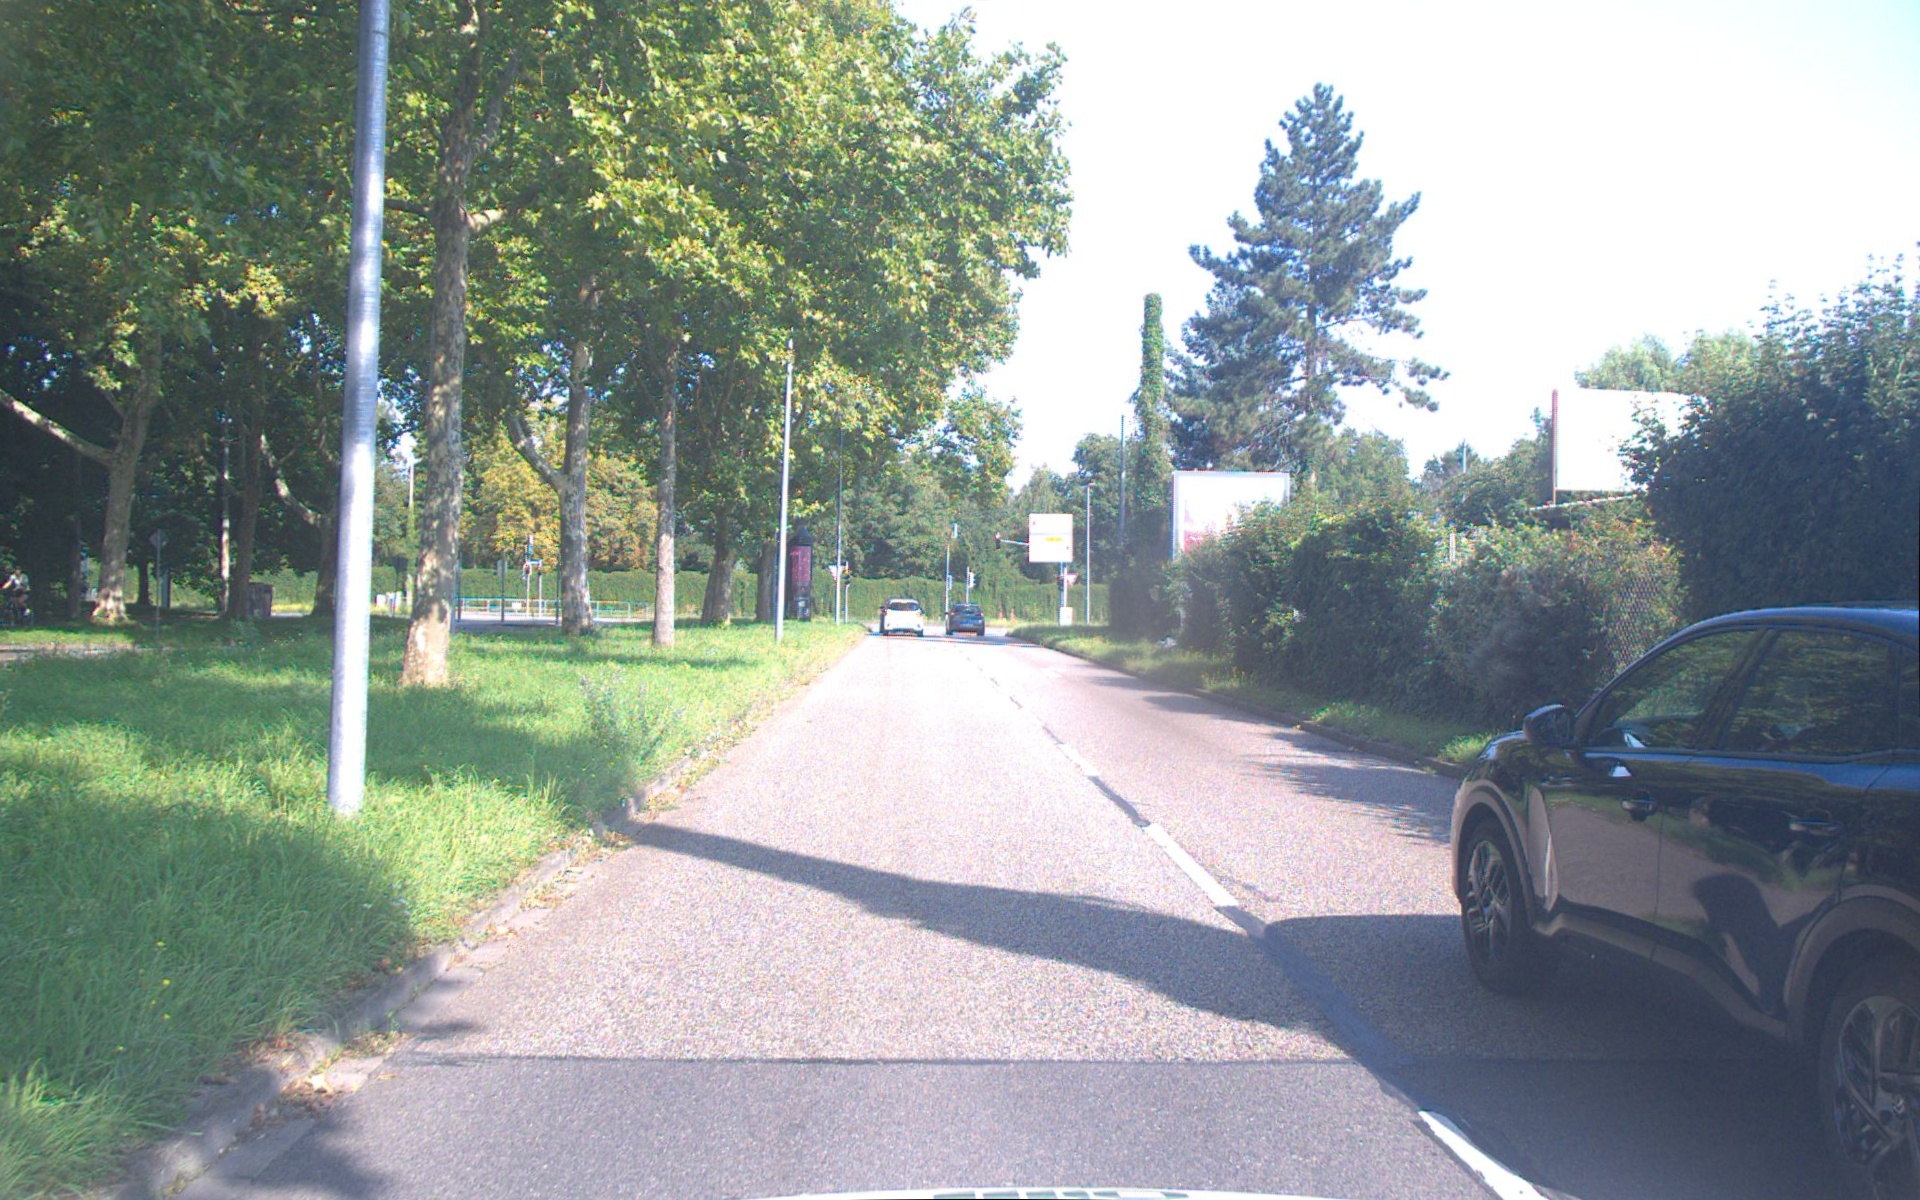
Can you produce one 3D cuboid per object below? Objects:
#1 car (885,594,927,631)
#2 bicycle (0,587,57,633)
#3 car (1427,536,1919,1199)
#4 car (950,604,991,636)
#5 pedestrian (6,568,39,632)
[{"bbox_3d":[-2.255,0.506,69.588,1.653,1.487,3.999,1,0,-1],"label":"car"},{"bbox_3d":[-25.735,0.269,45.438,0.533,1.220,2.758,1,0,-5],"label":"bicycle"},{"bbox_3d":[2.966,0.666,5.236,1.612,1.616,4.252,0,0,-3],"label":"car"},{"bbox_3d":[0.475,0.926,78.544,1.761,1.425,3.998,1,0,-2],"label":"car"},{"bbox_3d":[-25.725,0.003,45.385,0.532,1.720,0.657,1,0,-5],"label":"pedestrian"}]
